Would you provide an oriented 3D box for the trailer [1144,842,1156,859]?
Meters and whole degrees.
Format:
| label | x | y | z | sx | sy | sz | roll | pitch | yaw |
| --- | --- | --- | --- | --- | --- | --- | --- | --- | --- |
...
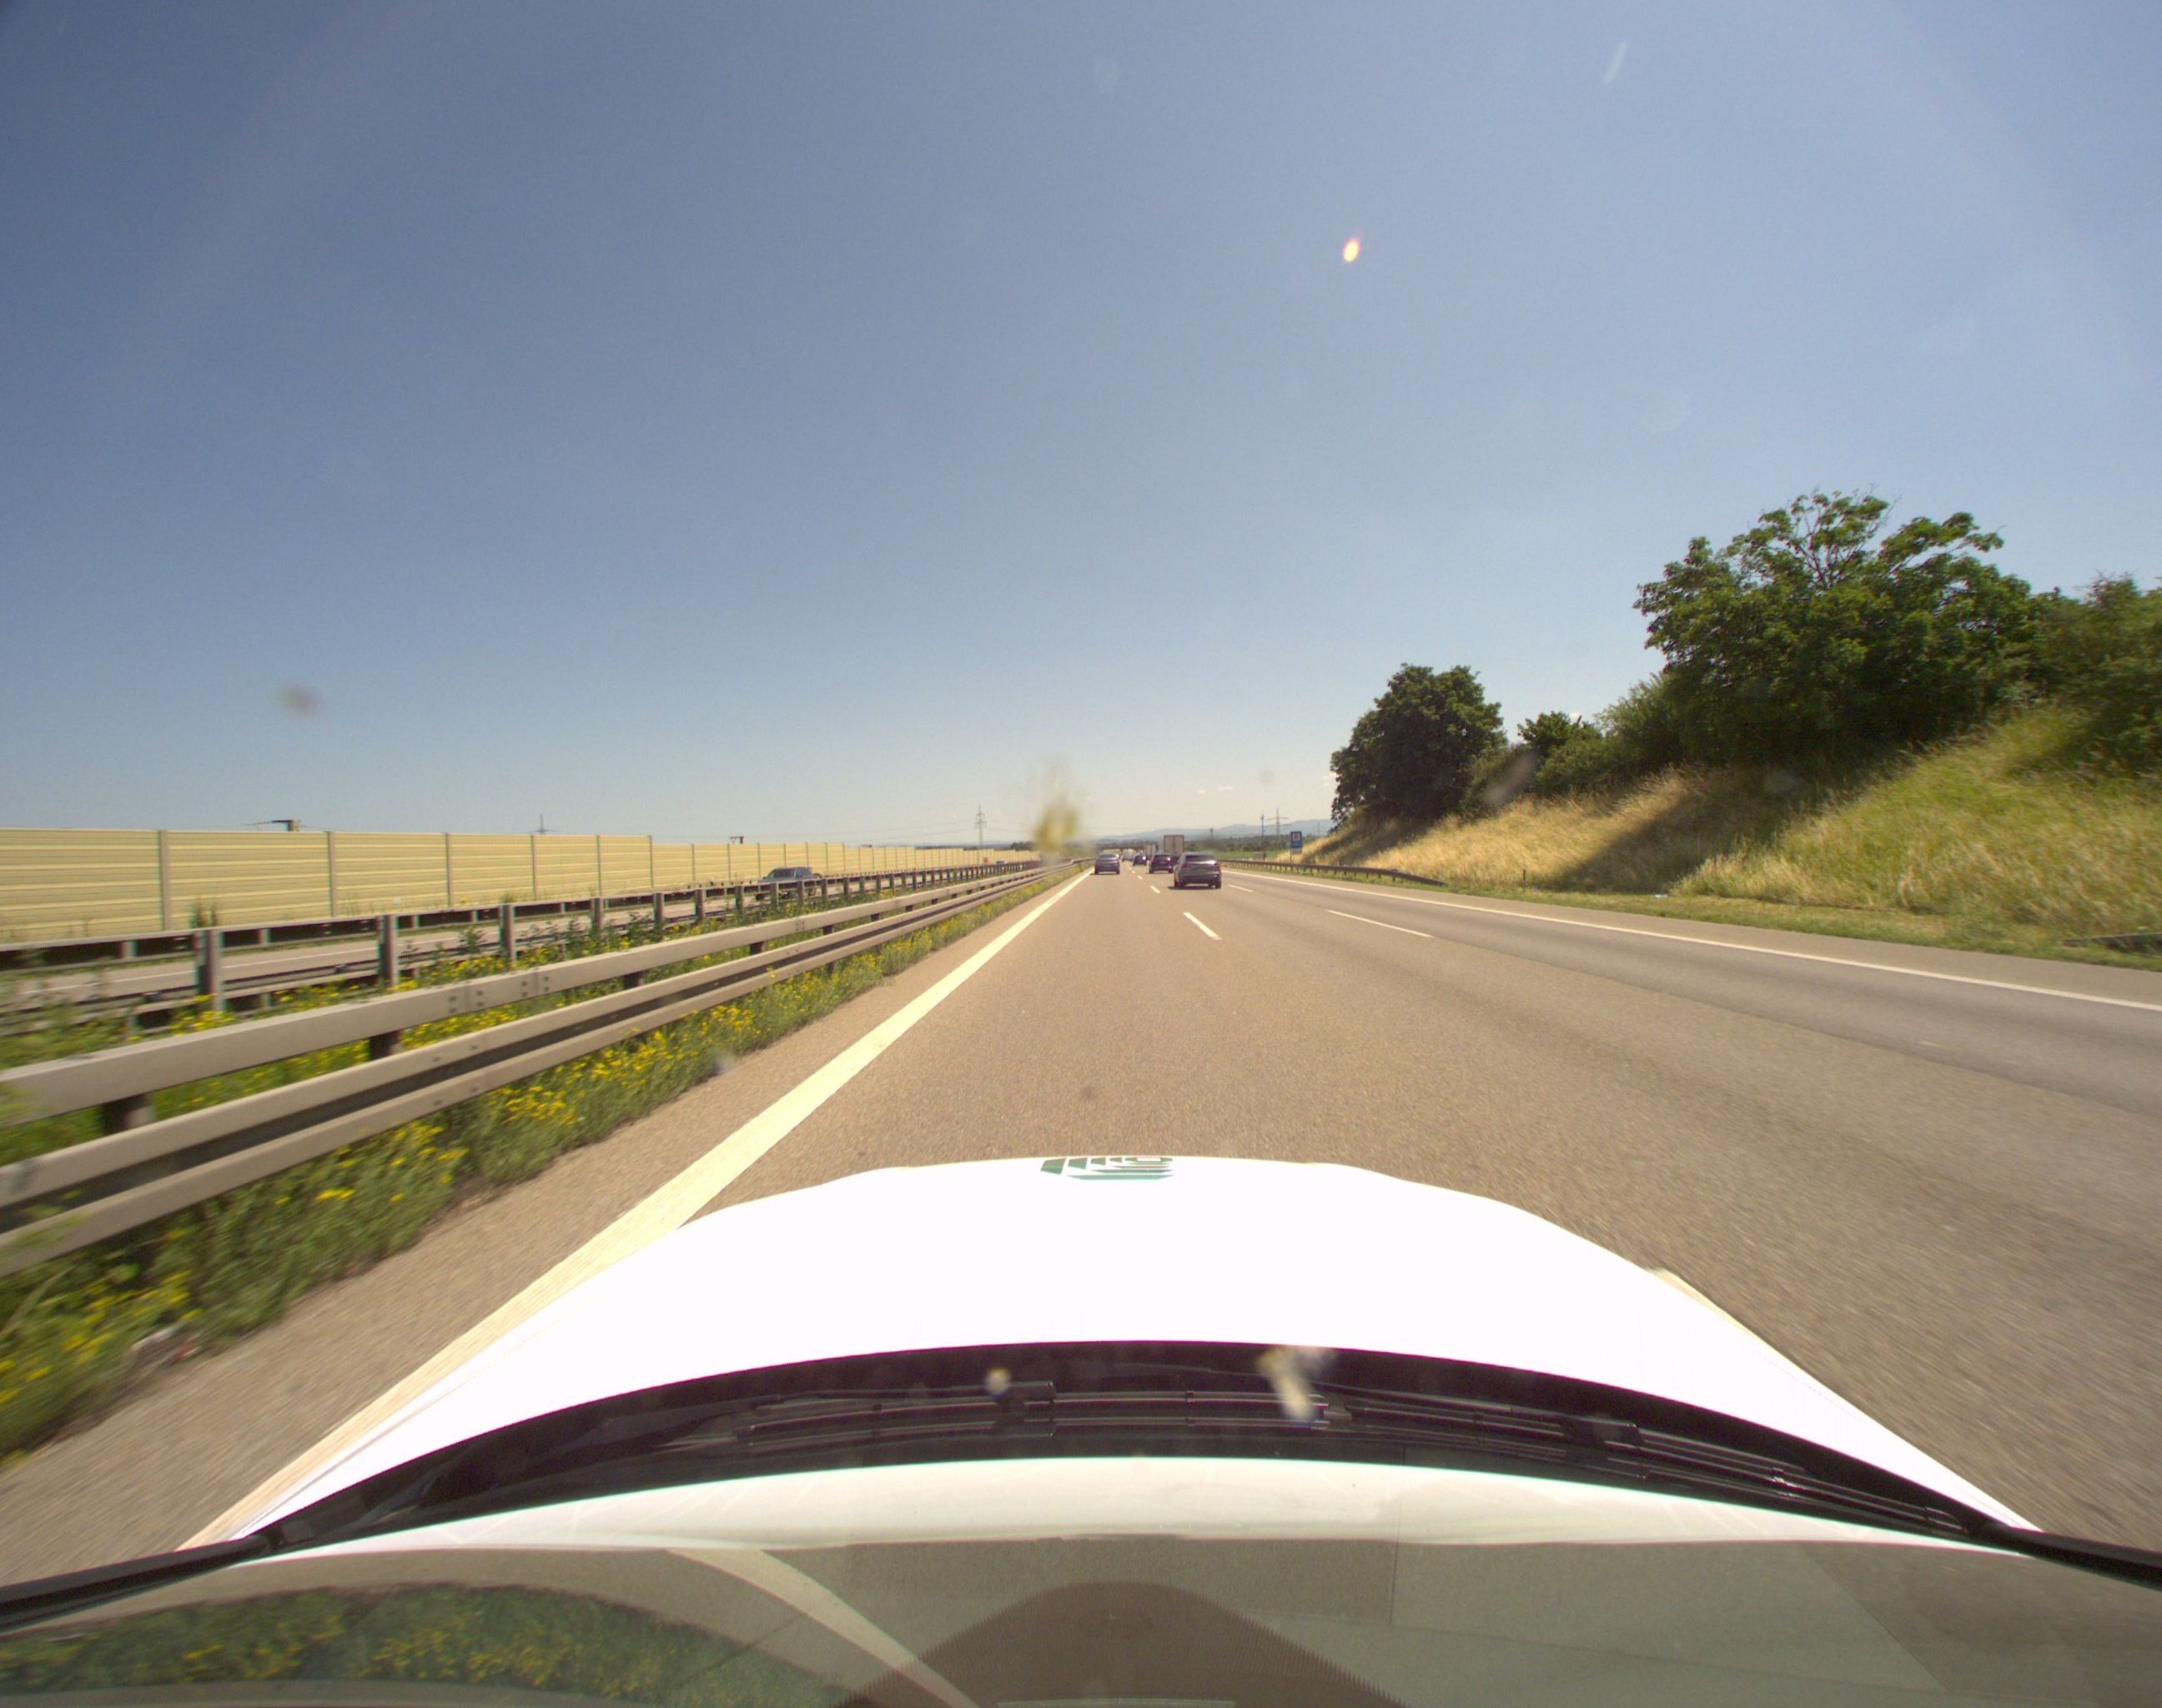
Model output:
| label | x | y | z | sx | sy | sz | roll | pitch | yaw |
| --- | --- | --- | --- | --- | --- | --- | --- | --- | --- |
| trailer | 17.183 | -0.820 | 203.808 | 2.930 | 4.198 | 13.612 | 0 | 0 | 4 |

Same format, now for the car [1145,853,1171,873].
| label | x | y | z | sx | sy | sz | roll | pitch | yaw |
| --- | --- | --- | --- | --- | --- | --- | --- | --- | --- |
| car | 6.079 | 0.703 | 64.598 | 1.790 | 1.562 | 3.824 | 0 | 0 | 1 |

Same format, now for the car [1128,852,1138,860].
| label | x | y | z | sx | sy | sz | roll | pitch | yaw |
| --- | --- | --- | --- | --- | --- | --- | --- | --- | --- |
| car | 11.577 | 0.508 | 180.976 | 1.984 | 1.683 | 4.005 | 0 | 0 | 4 |

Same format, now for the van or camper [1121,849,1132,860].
| label | x | y | z | sx | sy | sz | roll | pitch | yaw |
| --- | --- | --- | --- | --- | --- | --- | --- | --- | --- |
| van or camper | 9.469 | 0.174 | 167.924 | 2.101 | 2.211 | 5.271 | 0 | 0 | 4 |

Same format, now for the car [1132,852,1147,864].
| label | x | y | z | sx | sy | sz | roll | pitch | yaw |
| --- | --- | --- | --- | --- | --- | --- | --- | --- | --- |
| car | 7.756 | 0.578 | 108.220 | 1.925 | 1.574 | 4.939 | 0 | 0 | 4 |

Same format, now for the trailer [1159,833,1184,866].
| label | x | y | z | sx | sy | sz | roll | pitch | yaw |
| --- | --- | --- | --- | --- | --- | --- | --- | --- | --- |
| trailer | 12.301 | -0.511 | 111.611 | 2.855 | 4.220 | 13.307 | 0 | 0 | 4 |

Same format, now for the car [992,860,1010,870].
| label | x | y | z | sx | sy | sz | roll | pitch | yaw |
| --- | --- | --- | --- | --- | --- | --- | --- | --- | --- |
| car | -12.298 | 1.681 | 125.217 | 1.986 | 1.464 | 4.816 | -2 | 0 | 2 |

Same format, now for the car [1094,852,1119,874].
| label | x | y | z | sx | sy | sz | roll | pitch | yaw |
| --- | --- | --- | --- | --- | --- | --- | --- | --- | --- |
| car | 1.997 | 0.676 | 63.869 | 1.844 | 1.664 | 3.736 | 0 | 0 | 1 |

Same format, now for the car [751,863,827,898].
| label | x | y | z | sx | sy | sz | roll | pitch | yaw |
| --- | --- | --- | --- | --- | --- | --- | --- | --- | --- |
| car | -15.348 | 1.343 | 43.091 | 1.889 | 1.570 | 5.249 | -3 | 0 | 2 |

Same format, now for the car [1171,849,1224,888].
| label | x | y | z | sx | sy | sz | roll | pitch | yaw |
| --- | --- | --- | --- | --- | --- | --- | --- | --- | --- |
| car | 5.134 | 0.626 | 36.493 | 1.844 | 1.648 | 4.646 | 0 | 0 | 1 |
